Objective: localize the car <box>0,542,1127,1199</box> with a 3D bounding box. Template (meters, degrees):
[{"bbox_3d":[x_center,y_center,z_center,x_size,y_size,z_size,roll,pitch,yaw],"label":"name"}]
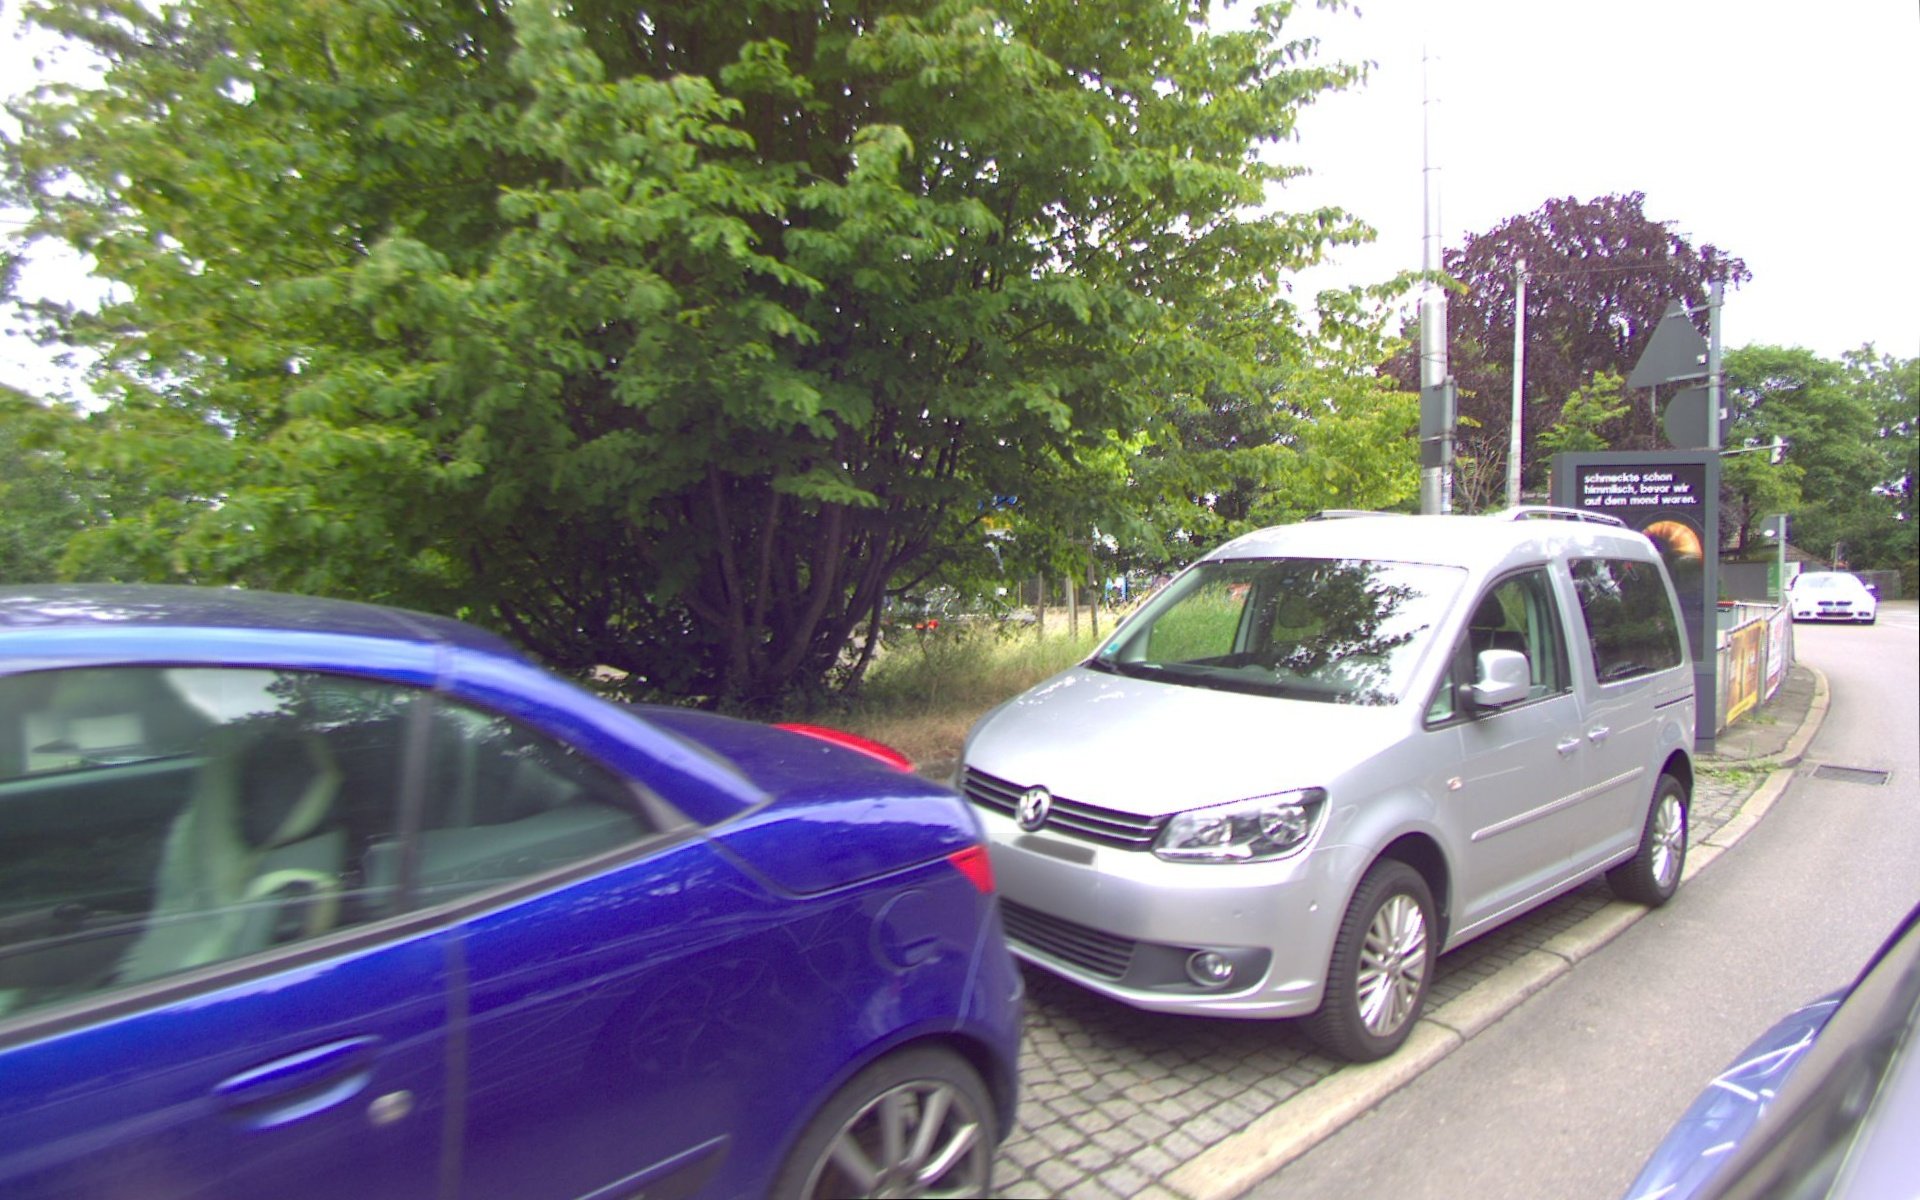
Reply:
[{"bbox_3d":[-1.623,0.648,1.592,3.873,1.477,1.601,-1,3,-41],"label":"car"}]

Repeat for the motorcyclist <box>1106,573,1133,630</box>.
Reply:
[{"bbox_3d":[4.660,0.040,29.608,0.636,1.623,0.728,-1,2,-6],"label":"motorcyclist"}]

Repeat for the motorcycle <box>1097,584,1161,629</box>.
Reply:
[{"bbox_3d":[4.920,0.175,29.535,1.713,1.248,0.728,-1,2,-5],"label":"motorcycle"}]

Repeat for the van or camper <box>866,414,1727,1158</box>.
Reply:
[{"bbox_3d":[1.777,0.415,4.523,4.167,1.868,1.702,-1,2,-39],"label":"van or camper"}]

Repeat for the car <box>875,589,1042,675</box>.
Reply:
[{"bbox_3d":[0.021,0.716,25.308,3.935,1.748,1.922,-4,4,-44],"label":"car"}]

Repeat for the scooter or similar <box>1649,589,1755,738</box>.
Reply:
[{"bbox_3d":[7.227,0.569,9.834,1.462,1.304,0.517,-1,3,-43],"label":"scooter or similar"}]

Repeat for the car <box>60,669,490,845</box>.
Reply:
[{"bbox_3d":[-9.039,1.920,13.693,1.990,1.575,4.463,0,1,40],"label":"car"}]

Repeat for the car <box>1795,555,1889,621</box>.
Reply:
[{"bbox_3d":[25.892,-0.431,29.809,1.817,1.487,4.718,8,9,40],"label":"car"}]
